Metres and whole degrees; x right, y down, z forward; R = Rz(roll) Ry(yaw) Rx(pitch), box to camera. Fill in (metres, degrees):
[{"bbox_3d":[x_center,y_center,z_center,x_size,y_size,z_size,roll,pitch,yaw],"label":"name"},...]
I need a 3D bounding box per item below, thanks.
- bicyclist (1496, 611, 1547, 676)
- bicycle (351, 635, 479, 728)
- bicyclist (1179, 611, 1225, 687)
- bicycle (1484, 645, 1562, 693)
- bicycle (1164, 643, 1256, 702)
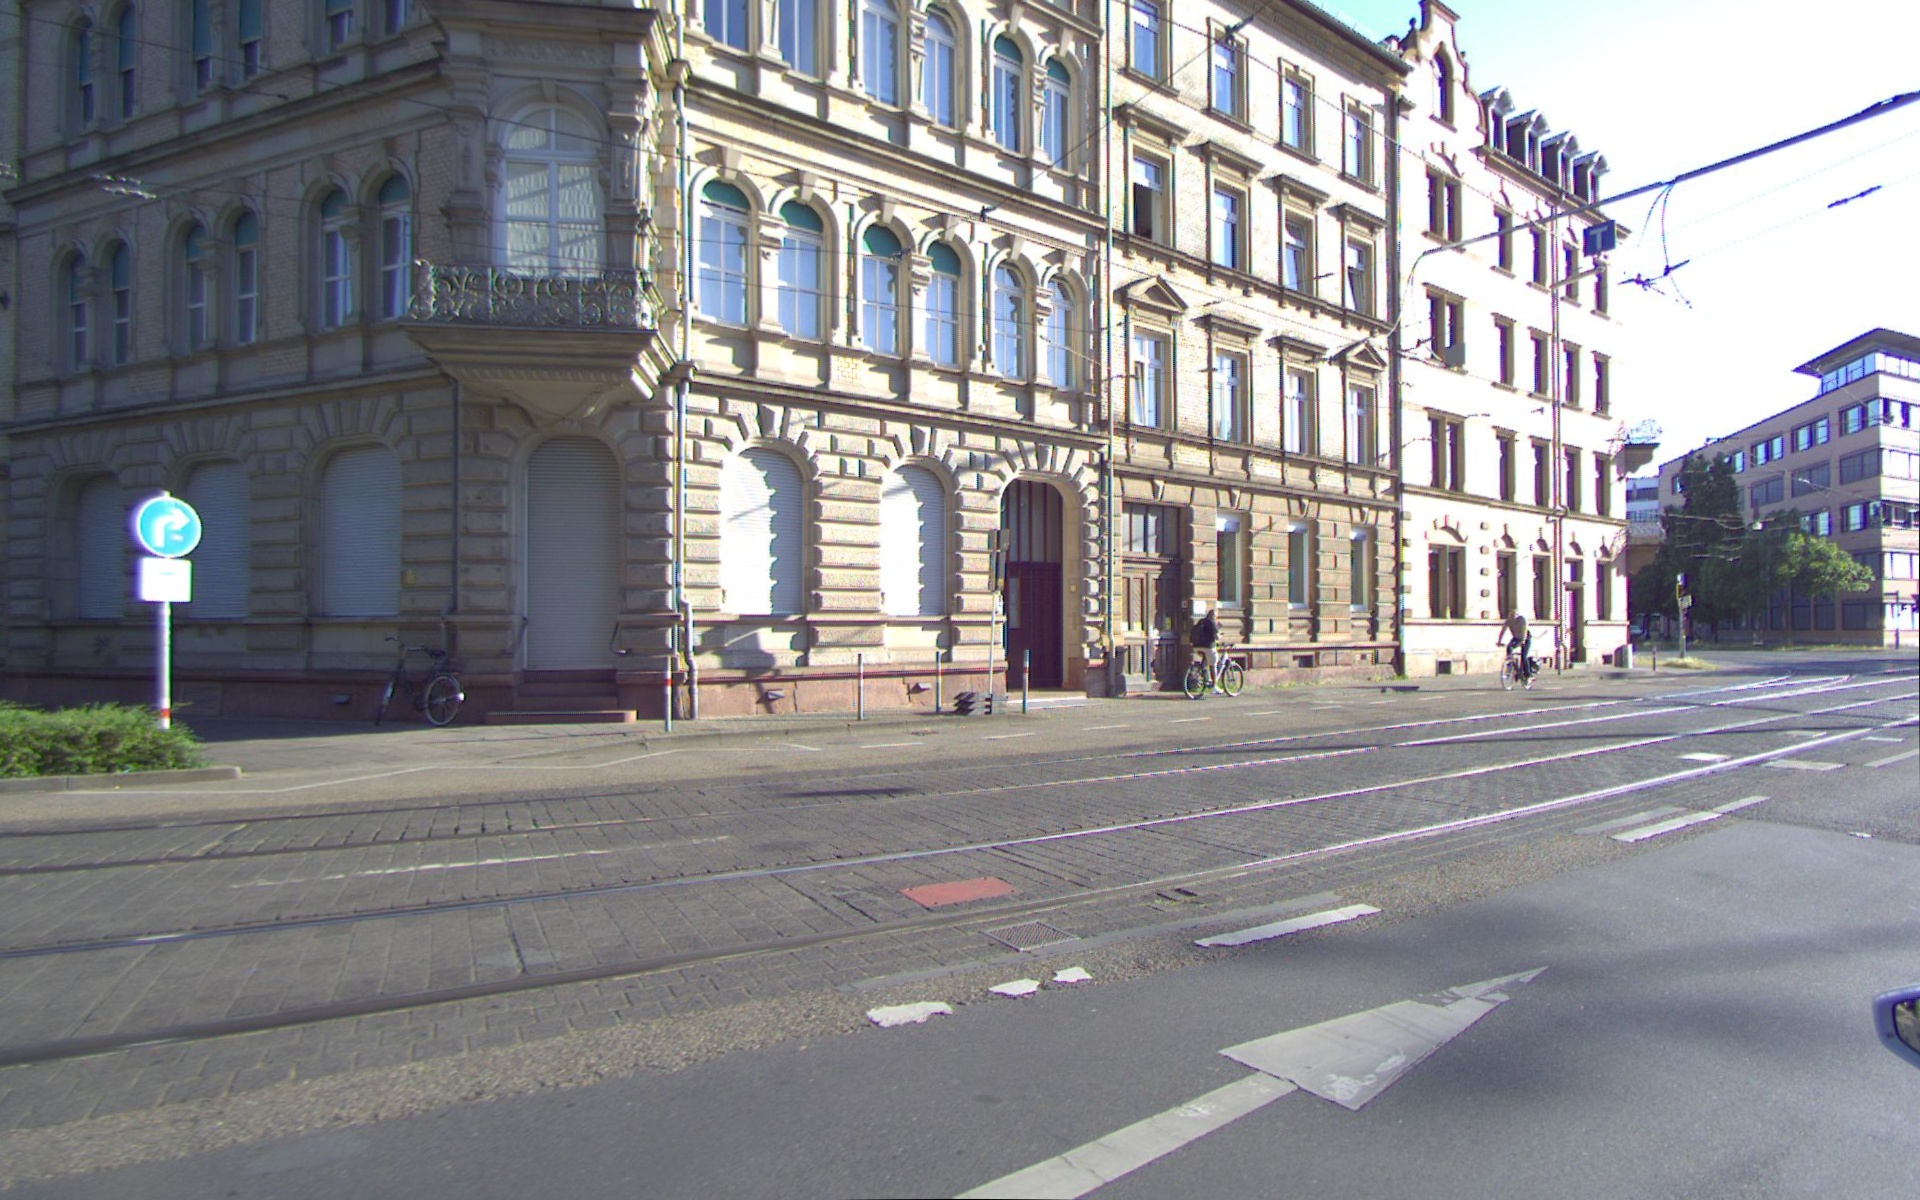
[{"bbox_3d":[13.712,1.055,24.536,0.794,1.534,0.837,1,-2,-37],"label":"bicyclist"},{"bbox_3d":[-7.572,1.106,13.951,1.757,1.222,0.503,-1,1,20],"label":"bicycle"},{"bbox_3d":[4.908,0.991,20.406,0.694,1.510,0.589,1,-2,-30],"label":"bicyclist"},{"bbox_3d":[13.799,1.660,24.601,1.980,1.112,0.939,1,-2,-37],"label":"bicycle"},{"bbox_3d":[5.117,1.458,20.503,2.102,1.147,0.498,1,-2,-31],"label":"bicycle"}]
